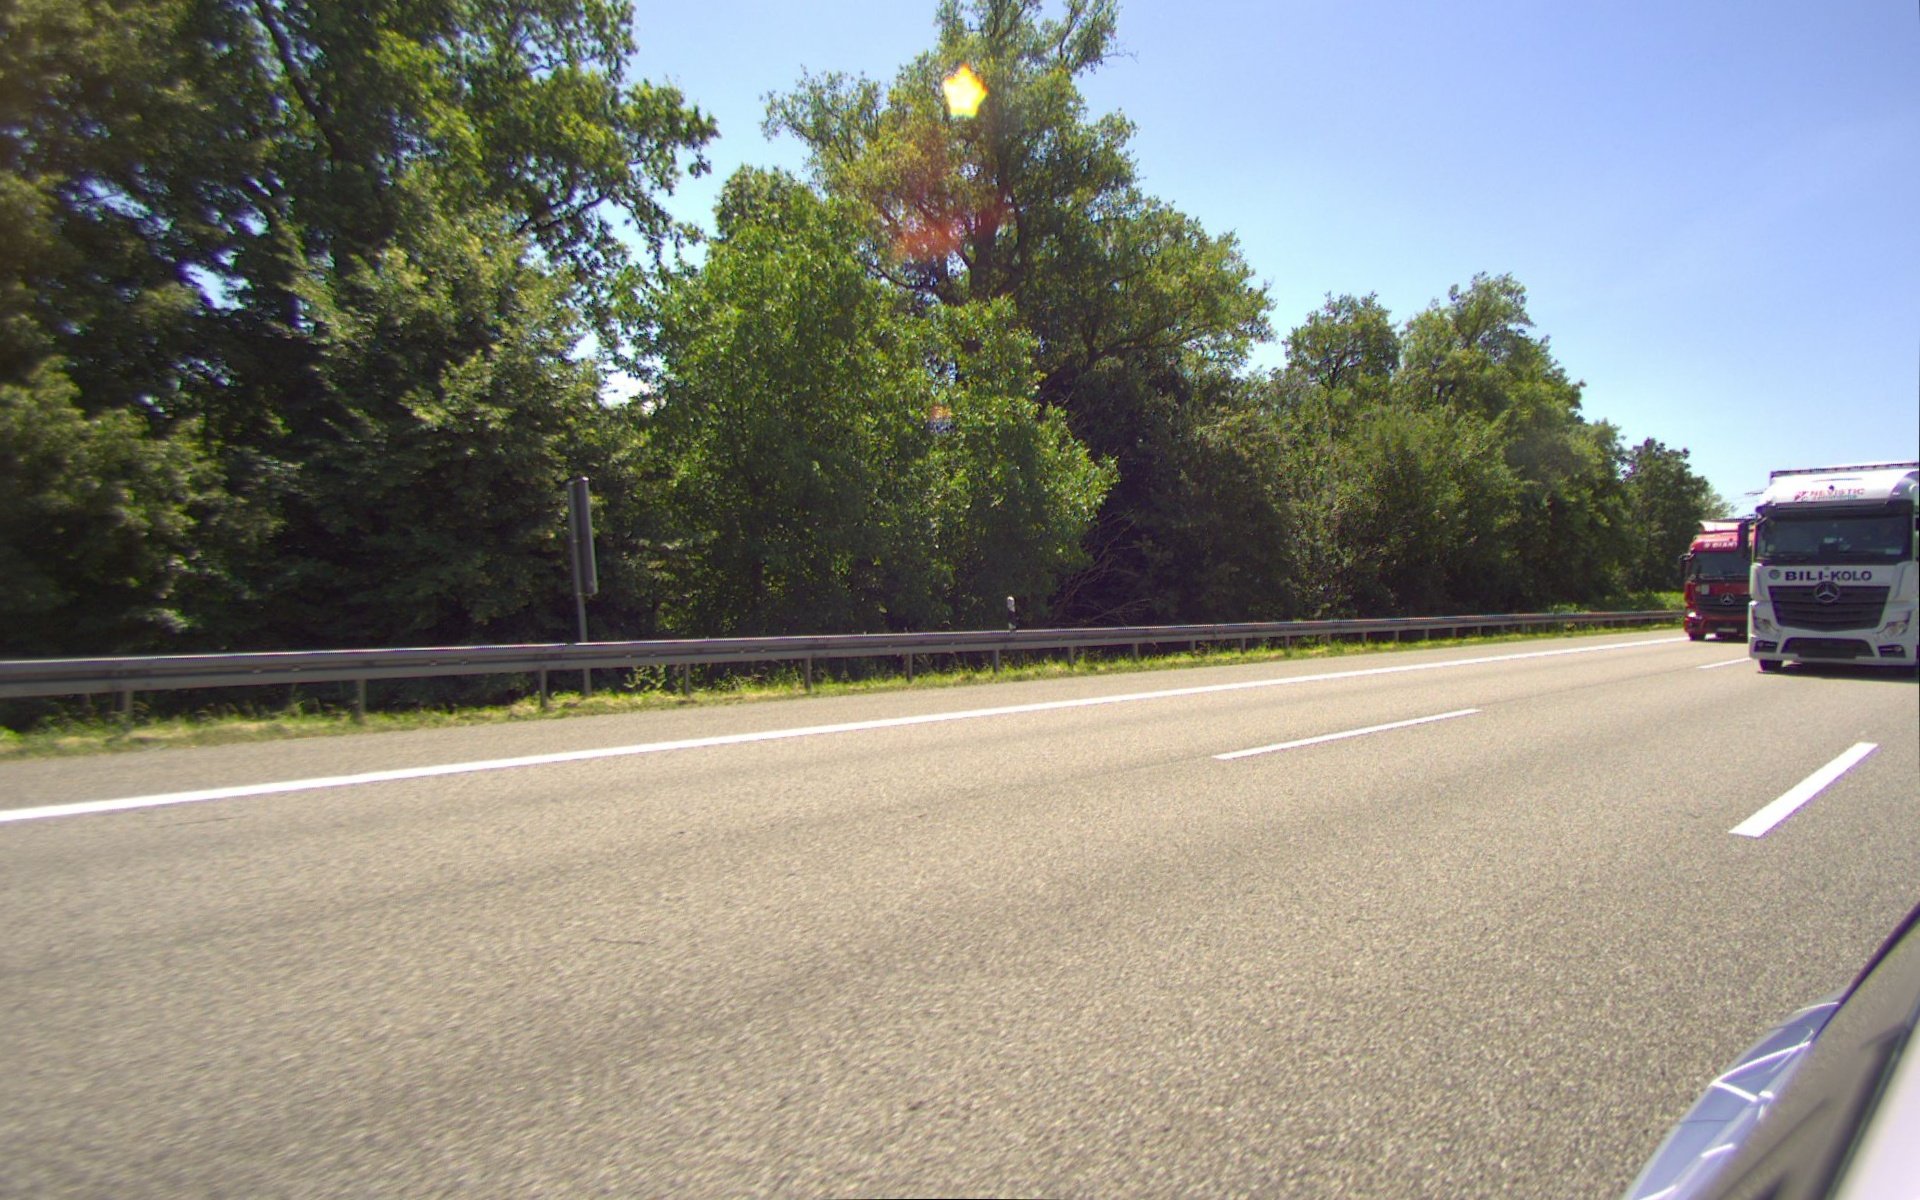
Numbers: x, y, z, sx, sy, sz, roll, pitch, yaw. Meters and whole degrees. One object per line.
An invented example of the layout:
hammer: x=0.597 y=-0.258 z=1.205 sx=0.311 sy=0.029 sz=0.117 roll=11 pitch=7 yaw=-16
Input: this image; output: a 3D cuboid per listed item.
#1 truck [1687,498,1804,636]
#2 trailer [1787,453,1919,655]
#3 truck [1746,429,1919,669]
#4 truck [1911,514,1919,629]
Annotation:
truck: x=26.278 y=-1.059 z=33.819 sx=4.593 sy=4.284 sz=2.332 roll=0 pitch=0 yaw=-42
trailer: x=24.349 y=-1.092 z=26.046 sx=14.496 sy=4.119 sz=2.711 roll=-2 pitch=1 yaw=-42
truck: x=18.201 y=-0.952 z=20.403 sx=6.344 sy=4.145 sz=2.704 roll=-1 pitch=1 yaw=-42
truck: x=36.834 y=-1.013 z=36.884 sx=5.919 sy=4.057 sz=2.803 roll=-1 pitch=1 yaw=-43
